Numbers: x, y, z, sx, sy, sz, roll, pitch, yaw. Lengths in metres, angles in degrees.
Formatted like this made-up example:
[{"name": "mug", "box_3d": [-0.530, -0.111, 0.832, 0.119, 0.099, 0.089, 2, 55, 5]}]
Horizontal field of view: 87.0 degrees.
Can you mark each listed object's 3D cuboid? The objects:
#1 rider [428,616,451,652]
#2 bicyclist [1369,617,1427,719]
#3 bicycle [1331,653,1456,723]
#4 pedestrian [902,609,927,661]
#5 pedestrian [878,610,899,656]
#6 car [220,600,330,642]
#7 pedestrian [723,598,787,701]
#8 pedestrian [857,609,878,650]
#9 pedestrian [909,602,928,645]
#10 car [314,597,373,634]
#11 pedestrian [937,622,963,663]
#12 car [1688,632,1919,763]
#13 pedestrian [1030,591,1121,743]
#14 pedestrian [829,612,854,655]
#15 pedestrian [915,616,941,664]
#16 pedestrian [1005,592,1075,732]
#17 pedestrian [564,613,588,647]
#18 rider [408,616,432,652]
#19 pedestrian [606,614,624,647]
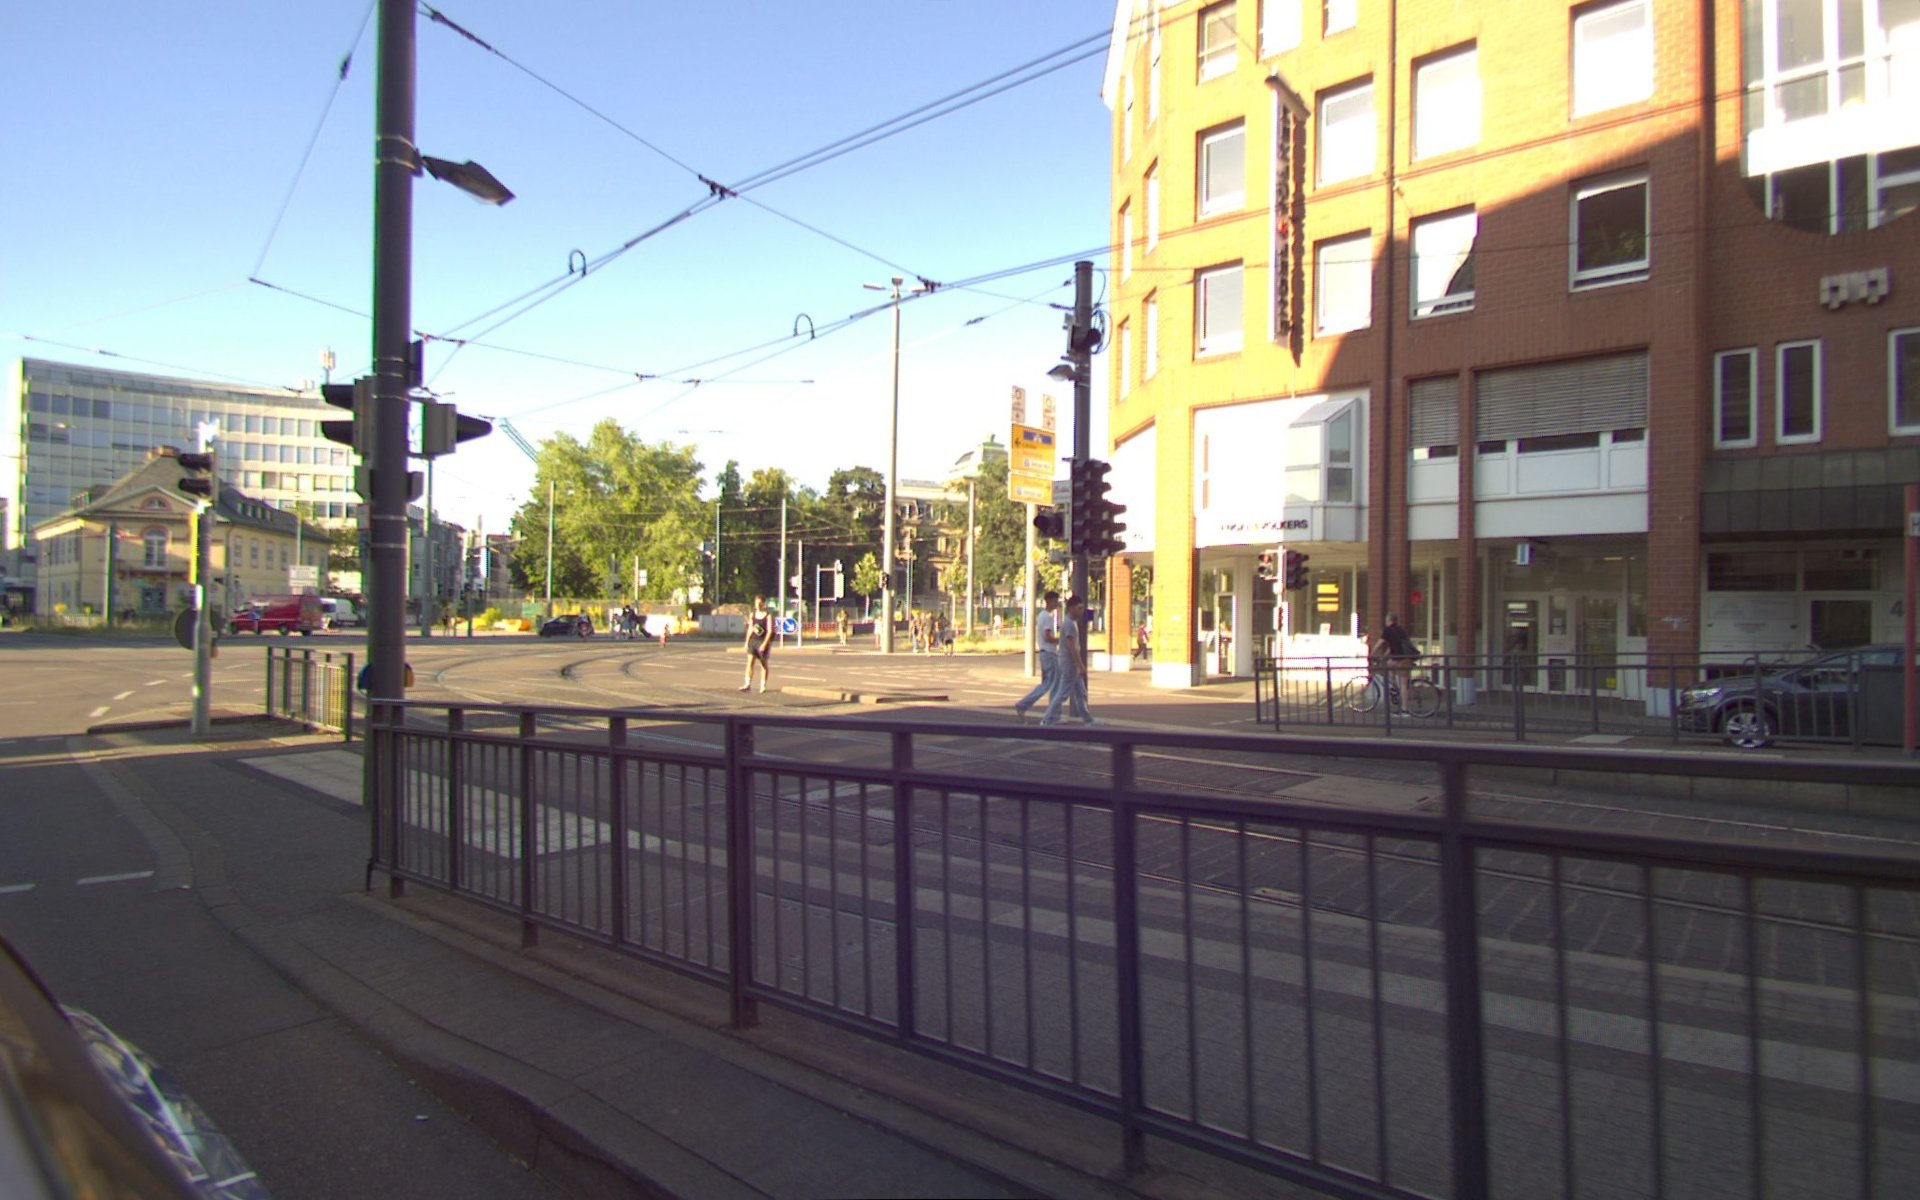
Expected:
[{"name": "rider", "box_3d": [-30.741, 1.977, 59.791, 0.997, 2.028, 0.992, -1, 1, -15]}, {"name": "bicyclist", "box_3d": [8.037, 1.226, 18.571, 0.810, 1.780, 0.729, 0, 2, 38]}, {"name": "bicycle", "box_3d": [7.982, 1.590, 18.688, 2.052, 1.129, 0.567, 0, 2, 38]}, {"name": "pedestrian", "box_3d": [-1.867, 1.420, 41.350, 0.846, 2.028, 0.813, -1, 1, -12]}, {"name": "pedestrian", "box_3d": [-3.218, 1.471, 45.369, 0.849, 2.028, 0.811, -1, 1, 1]}, {"name": "car", "box_3d": [-42.743, 1.305, 63.203, 5.357, 2.473, 2.538, -1, 0, 7]}, {"name": "pedestrian", "box_3d": [-3.722, 0.880, 18.406, 0.852, 1.817, 0.808, -1, 1, 12]}, {"name": "pedestrian", "box_3d": [-4.134, 1.325, 45.490, 0.849, 1.784, 0.708, -1, 1, 1]}, {"name": "pedestrian", "box_3d": [-1.999, 1.145, 49.117, 0.849, 2.028, 0.811, -1, 1, 1]}, {"name": "car", "box_3d": [-55.592, 1.350, 91.427, 2.501, 3.071, 6.390, 3, -1, -13]}, {"name": "pedestrian", "box_3d": [-0.385, 1.651, 39.344, 0.846, 1.521, 0.813, -1, 1, -12]}, {"name": "car", "box_3d": [11.897, 1.205, 12.911, 4.116, 1.541, 1.882, -1, -2, 40]}, {"name": "pedestrian", "box_3d": [1.420, 0.786, 12.502, 0.797, 1.780, 0.863, -1, 1, -19]}, {"name": "pedestrian", "box_3d": [-5.661, 1.582, 48.193, 0.856, 2.028, 0.804, 0, 1, 27]}, {"name": "pedestrian", "box_3d": [-1.233, 1.529, 38.837, 0.846, 1.780, 0.813, -1, 1, -12]}, {"name": "pedestrian", "box_3d": [1.046, 0.793, 13.415, 0.799, 1.780, 0.861, -1, 1, -1]}, {"name": "pedestrian", "box_3d": [-23.738, 1.856, 62.573, 0.990, 2.028, 1.058, 0, 2, 45]}, {"name": "rider", "box_3d": [-31.789, 2.006, 59.558, 0.997, 2.028, 1.023, -1, 1, -15]}, {"name": "pedestrian", "box_3d": [-21.934, 1.920, 64.298, 0.997, 2.028, 0.992, -1, 1, -15]}]
